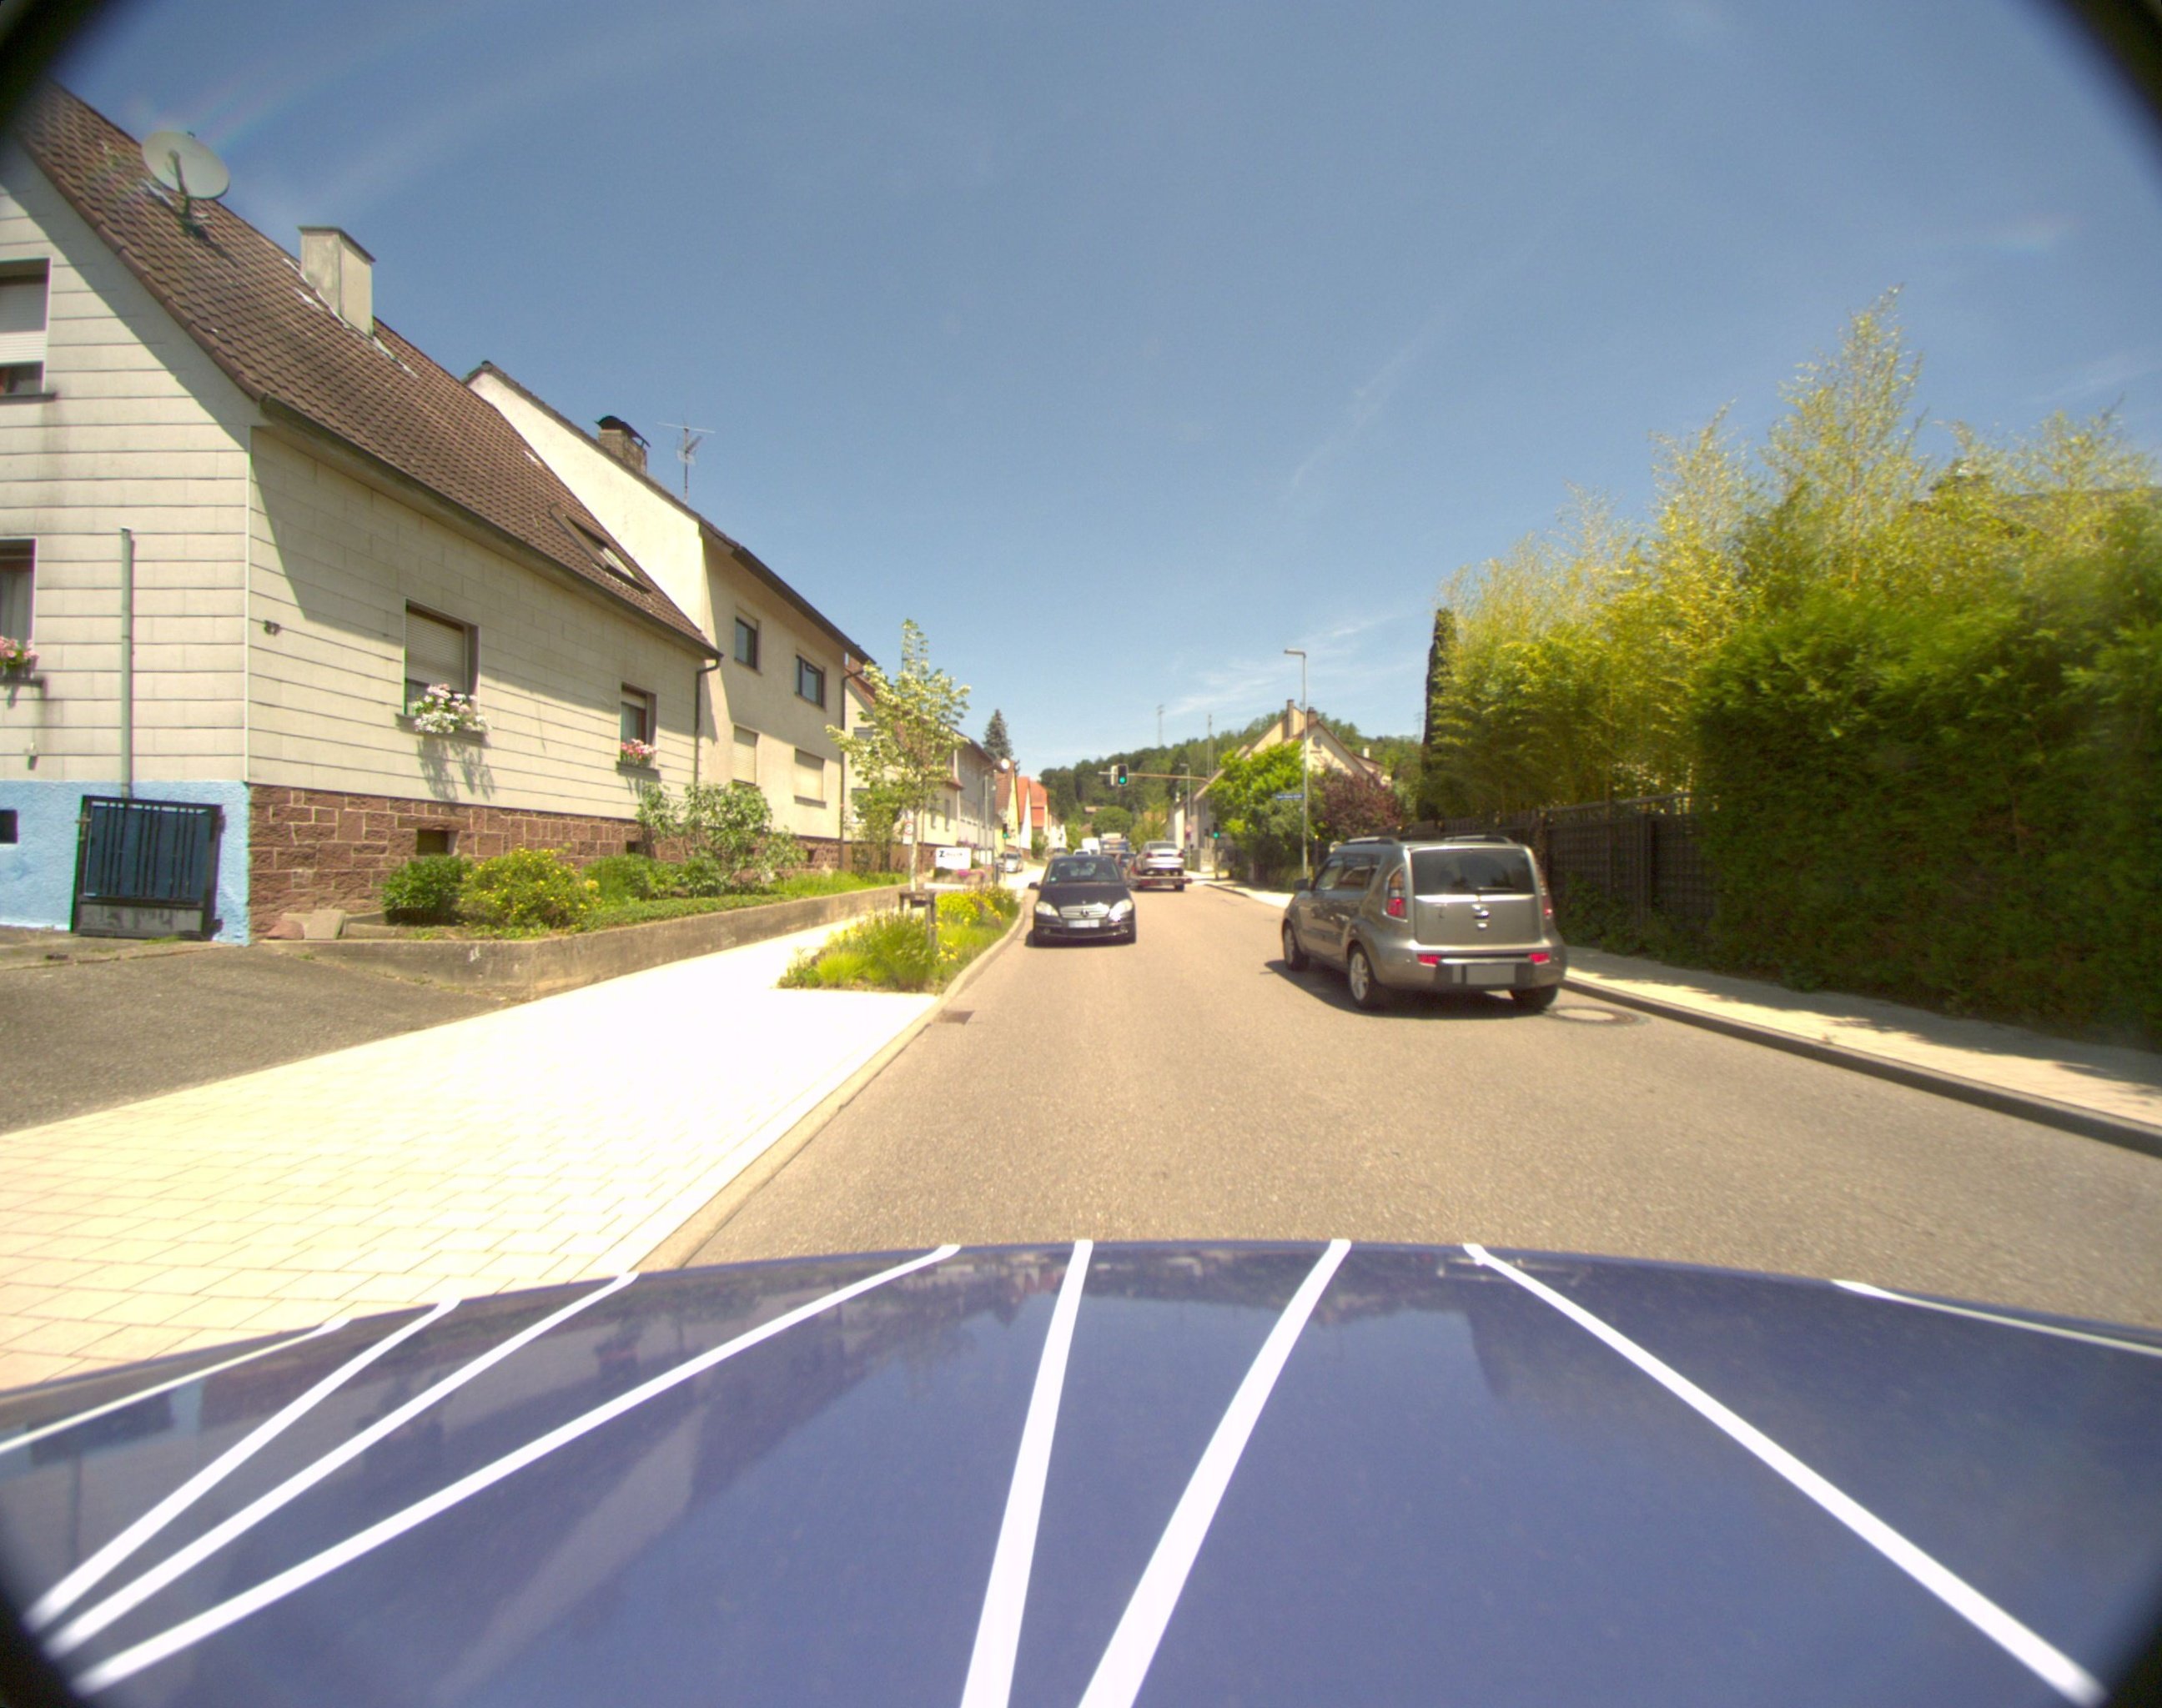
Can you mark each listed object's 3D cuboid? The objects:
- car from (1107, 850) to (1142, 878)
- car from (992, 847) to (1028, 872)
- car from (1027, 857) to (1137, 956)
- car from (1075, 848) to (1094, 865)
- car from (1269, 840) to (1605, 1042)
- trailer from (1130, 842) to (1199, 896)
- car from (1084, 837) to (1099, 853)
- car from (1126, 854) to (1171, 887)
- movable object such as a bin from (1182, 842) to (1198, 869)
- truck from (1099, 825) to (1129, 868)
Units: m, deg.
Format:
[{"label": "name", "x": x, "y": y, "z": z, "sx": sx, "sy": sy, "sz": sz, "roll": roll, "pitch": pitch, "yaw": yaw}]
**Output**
[{"label": "car", "x": 2.791, "y": 0.587, "z": 49.596, "sx": 1.893, "sy": 1.636, "sz": 4.612, "roll": 2, "pitch": 1, "yaw": 0}, {"label": "car", "x": -5.142, "y": 0.343, "z": 55.682, "sx": 1.867, "sy": 1.612, "sz": 4.508, "roll": 3, "pitch": 1, "yaw": 3}, {"label": "car", "x": 0.131, "y": 0.875, "z": 14.929, "sx": 1.767, "sy": 1.572, "sz": 4.932, "roll": -2, "pitch": 0, "yaw": 3}, {"label": "car", "x": 0.387, "y": 0.225, "z": 81.849, "sx": 1.998, "sy": 1.716, "sz": 4.000, "roll": -2, "pitch": 0, "yaw": 0}, {"label": "car", "x": 3.466, "y": 0.738, "z": 8.332, "sx": 1.872, "sy": 1.643, "sz": 3.949, "roll": -2, "pitch": 0, "yaw": 1}, {"label": "trailer", "x": 3.363, "y": 0.527, "z": 32.021, "sx": 2.161, "sy": 1.975, "sz": 6.200, "roll": -2, "pitch": 1, "yaw": 0}, {"label": "car", "x": 1.442, "y": -1.254, "z": 103.479, "sx": 1.987, "sy": 2.170, "sz": 3.999, "roll": -2, "pitch": 1, "yaw": 0}, {"label": "car", "x": 3.229, "y": 0.766, "z": 37.051, "sx": 1.771, "sy": 1.394, "sz": 4.246, "roll": -2, "pitch": 1, "yaw": 0}, {"label": "movable object such as a bin", "x": 8.586, "y": 0.106, "z": 59.933, "sx": 1.061, "sy": 2.002, "sz": 1.323, "roll": -2, "pitch": 1, "yaw": 2}, {"label": "truck", "x": 3.142, "y": -0.670, "z": 70.637, "sx": 2.547, "sy": 3.716, "sz": 8.623, "roll": 1, "pitch": 0, "yaw": 3}]
